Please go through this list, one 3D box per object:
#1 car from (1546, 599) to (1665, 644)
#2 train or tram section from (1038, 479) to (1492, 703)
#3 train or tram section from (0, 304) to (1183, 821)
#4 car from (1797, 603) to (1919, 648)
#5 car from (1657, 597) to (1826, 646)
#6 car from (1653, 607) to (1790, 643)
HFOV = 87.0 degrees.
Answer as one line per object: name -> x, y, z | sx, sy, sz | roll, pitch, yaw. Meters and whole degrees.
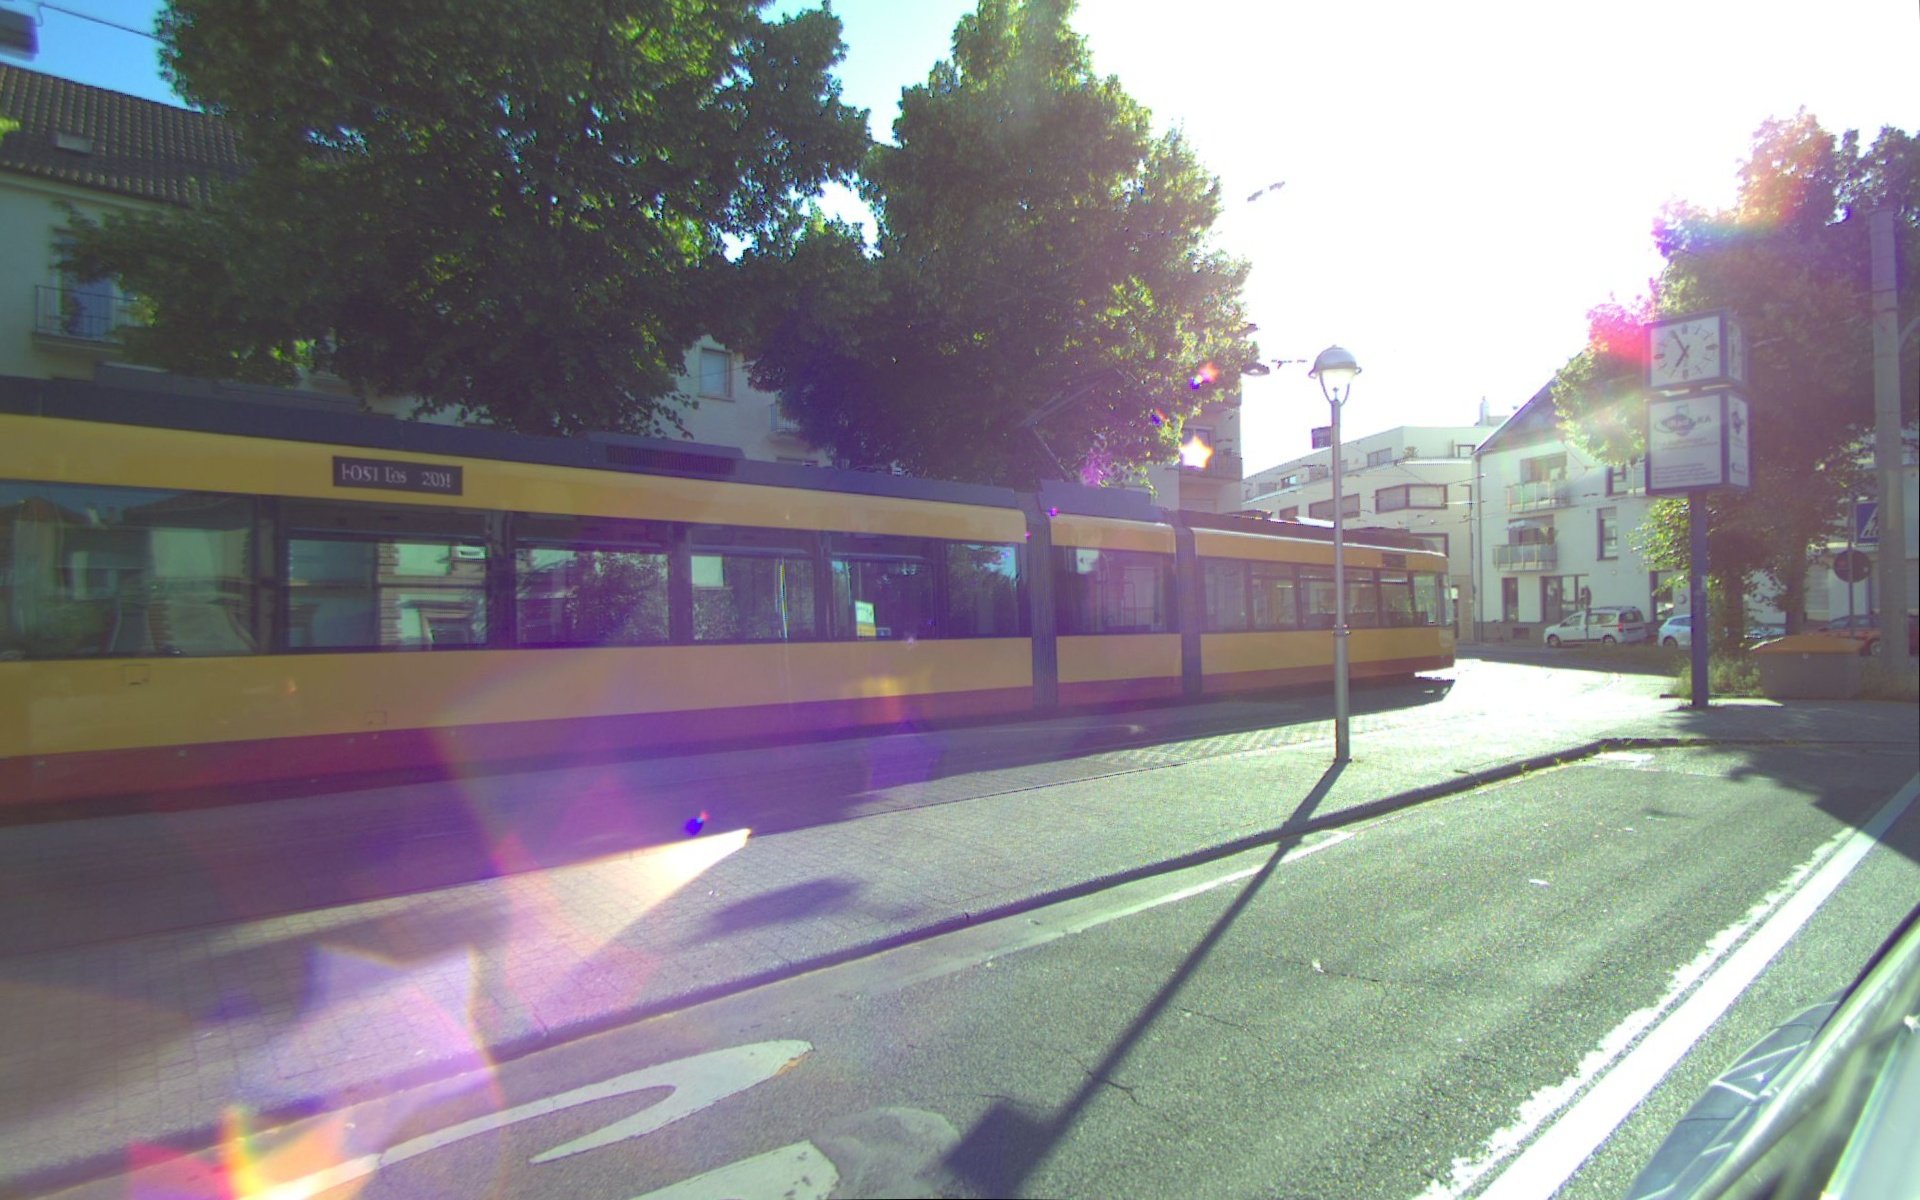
car -> 29.430, 0.941, 46.295 | 1.958, 1.981, 4.281 | 0, 0, -21
train or tram section -> 7.188, -0.098, 21.277 | 13.236, 3.465, 2.960 | 1, -1, -43
train or tram section -> -3.303, -0.212, 11.605 | 15.665, 3.465, 2.961 | 1, -1, -42
car -> 32.261, 0.919, 35.651 | 1.574, 1.481, 4.211 | -1, -2, -9
car -> 25.428, 0.690, 33.168 | 1.961, 1.481, 4.449 | 0, -1, -1
car -> 30.864, 1.023, 41.175 | 1.895, 1.364, 4.132 | -1, -1, -14
